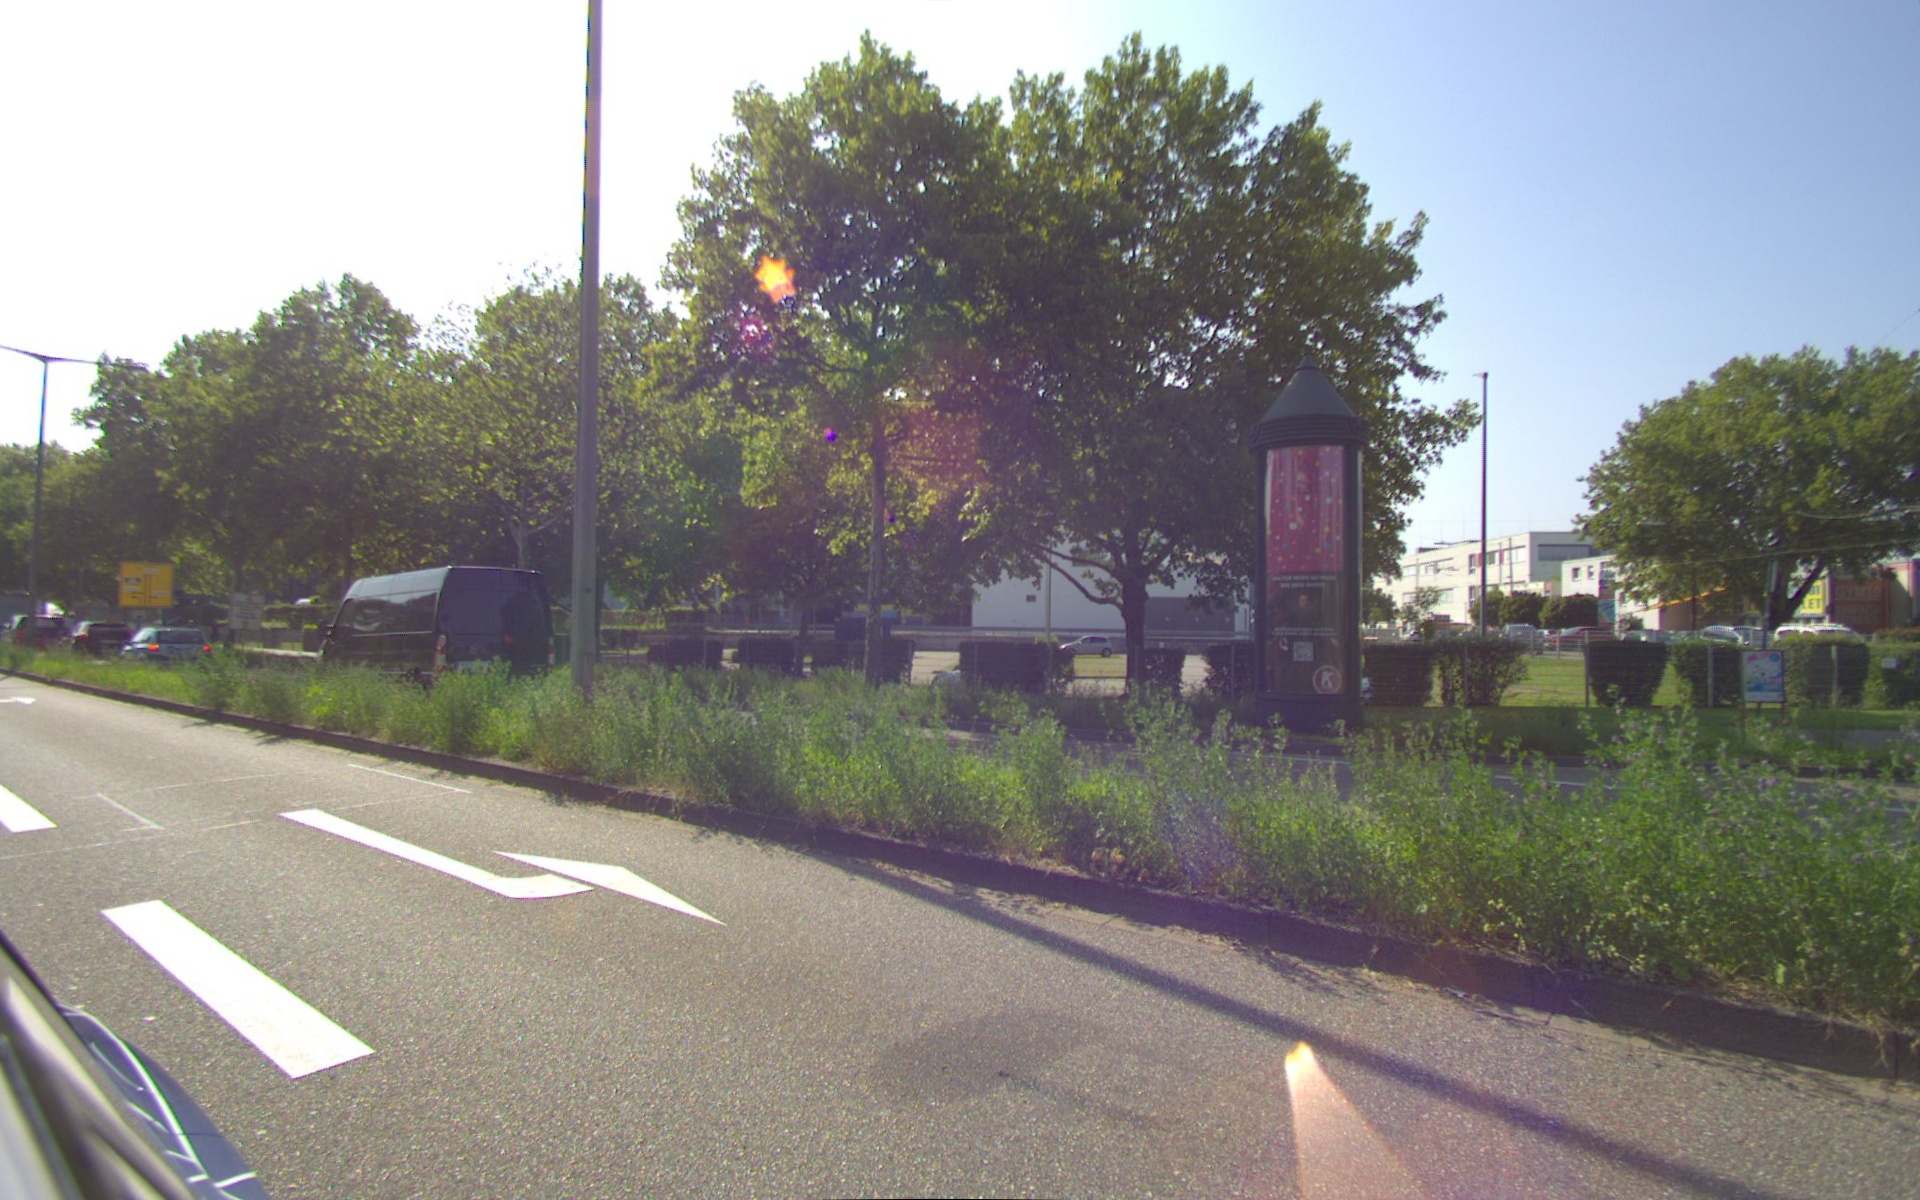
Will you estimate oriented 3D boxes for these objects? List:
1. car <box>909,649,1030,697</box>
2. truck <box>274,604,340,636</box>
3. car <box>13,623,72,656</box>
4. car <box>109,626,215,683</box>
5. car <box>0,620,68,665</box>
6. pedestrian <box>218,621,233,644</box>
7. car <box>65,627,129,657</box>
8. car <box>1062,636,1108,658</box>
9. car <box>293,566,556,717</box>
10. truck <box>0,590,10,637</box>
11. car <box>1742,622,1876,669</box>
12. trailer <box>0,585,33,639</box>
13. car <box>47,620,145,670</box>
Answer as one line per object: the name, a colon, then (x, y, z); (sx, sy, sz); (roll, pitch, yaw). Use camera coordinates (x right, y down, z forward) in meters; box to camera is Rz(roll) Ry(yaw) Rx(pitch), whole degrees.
car: (0.357, 2.199, 31.290); (1.817, 1.320, 3.950); (-2, -3, 36)
truck: (-60.905, 1.846, 94.581); (2.209, 2.883, 5.900); (0, -1, 2)
car: (-55.224, 2.350, 60.880); (4.966, 1.873, 1.964); (-1, -4, 41)
car: (-23.900, 1.571, 30.257); (3.997, 1.586, 1.755); (-1, -2, 41)
car: (-43.891, 1.987, 47.802); (4.562, 2.043, 1.912); (-2, -3, 39)
pedestrian: (-52.320, 2.307, 72.073); (0.933, 1.665, 0.611); (-1, -2, 40)
car: (-44.504, 2.156, 52.185); (3.996, 1.493, 1.773); (-1, -3, 39)
car: (8.613, 3.258, 69.849); (3.086, 1.447, 1.380); (0, -1, 4)
car: (-10.020, 0.705, 18.650); (6.277, 2.350, 2.091); (-1, -2, 40)
truck: (-80.353, 1.097, 83.138); (5.887, 3.849, 2.581); (-1, -4, 40)
car: (32.325, 1.690, 38.707); (1.846, 1.692, 3.996); (0, -1, 3)
trailer: (-74.729, 0.963, 78.293); (13.802, 3.851, 2.606); (-1, -4, 40)
car: (-31.953, 1.626, 37.391); (4.499, 1.719, 1.974); (-1, -1, 39)
